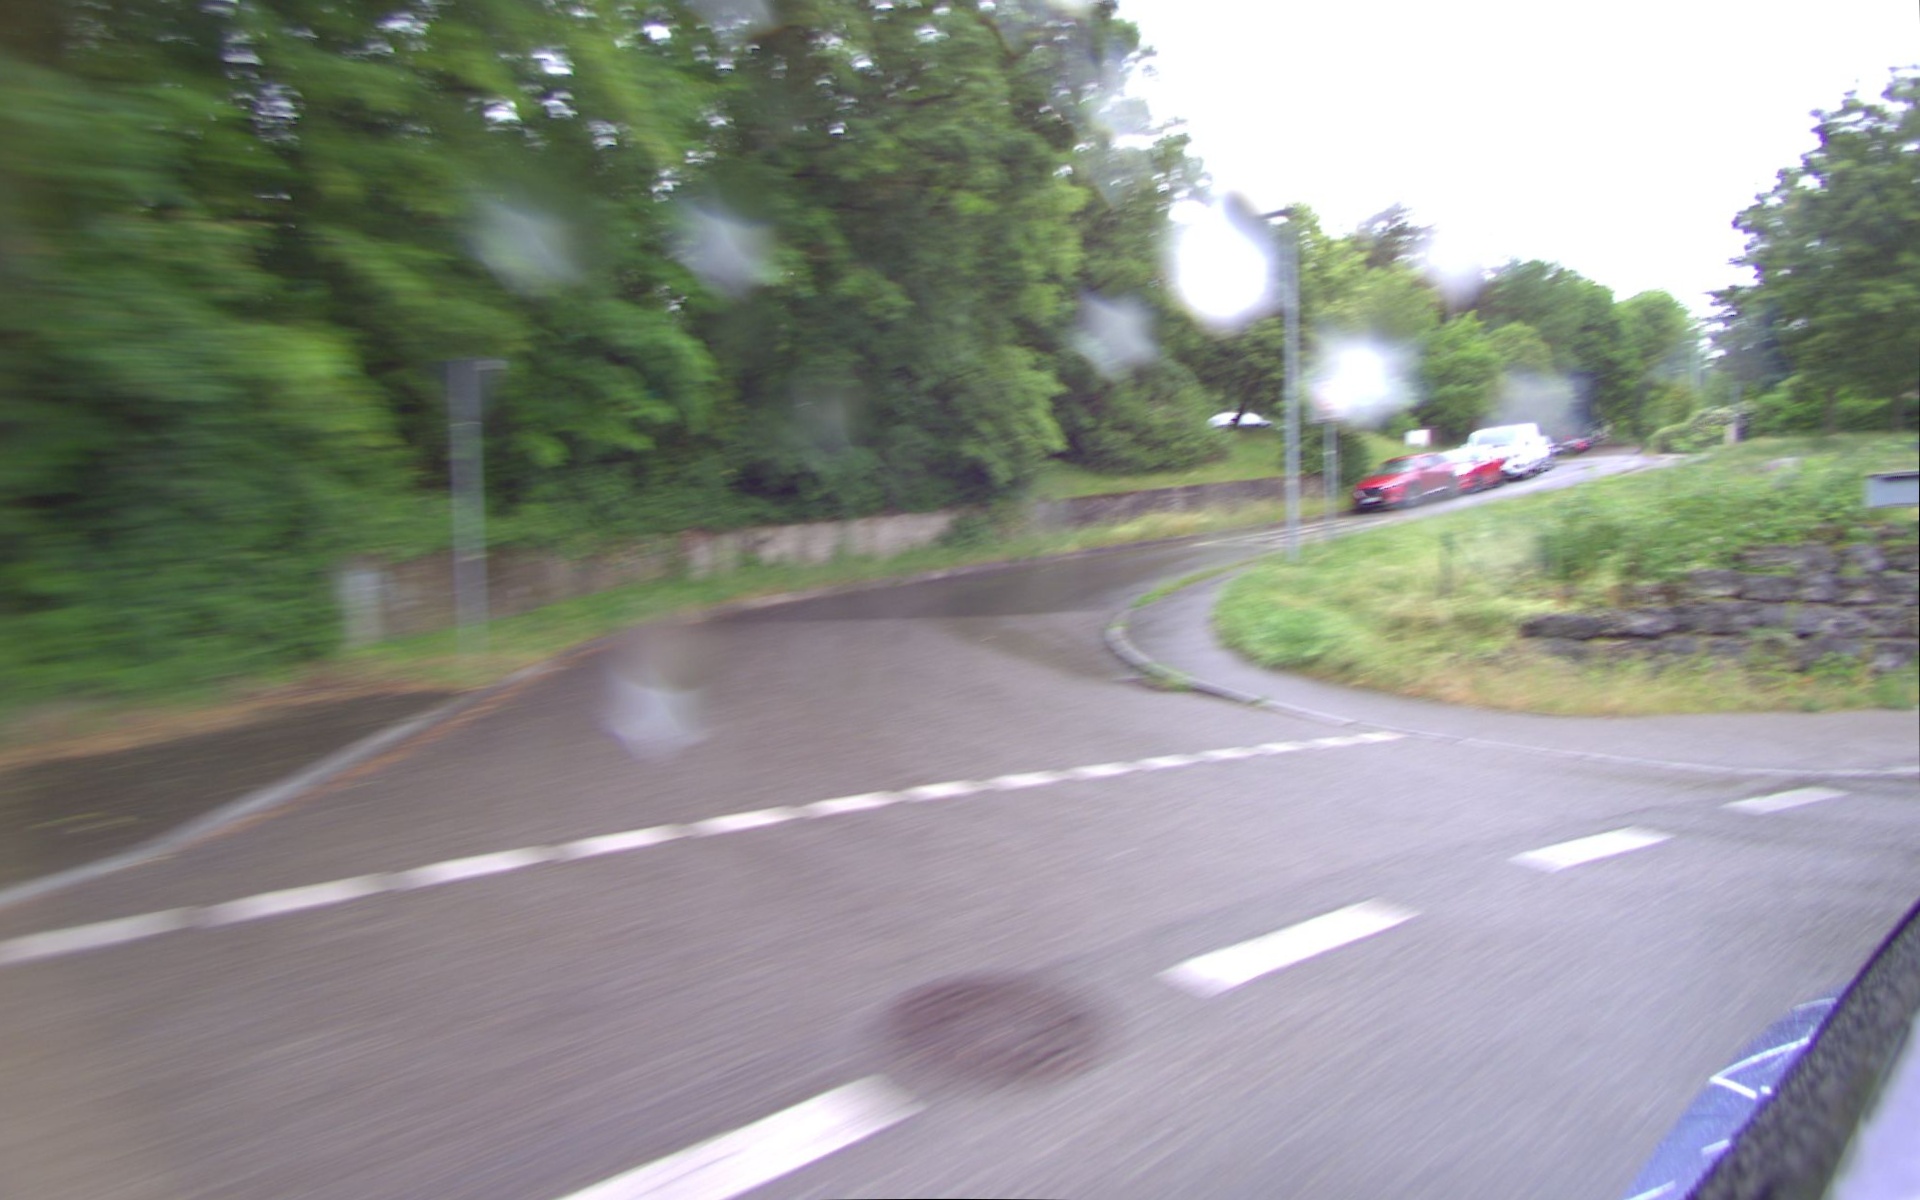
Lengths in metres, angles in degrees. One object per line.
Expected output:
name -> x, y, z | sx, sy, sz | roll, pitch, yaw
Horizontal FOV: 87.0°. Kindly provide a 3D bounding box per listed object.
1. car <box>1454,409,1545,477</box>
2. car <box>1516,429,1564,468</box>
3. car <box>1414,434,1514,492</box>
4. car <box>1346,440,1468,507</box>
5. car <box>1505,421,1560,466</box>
car -> 20.249, -5.923, 37.859 | 2.258, 1.965, 5.397 | 0, 11, 36
car -> 27.327, -7.161, 47.685 | 1.860, 1.418, 3.969 | -1, 10, 30
car -> 16.794, -4.562, 33.647 | 1.871, 1.418, 3.947 | 2, 12, 44
car -> 13.650, -3.871, 30.804 | 3.940, 1.524, 1.874 | -14, 11, -40
car -> 23.817, -6.528, 42.092 | 1.860, 1.418, 3.969 | -1, 10, 30
